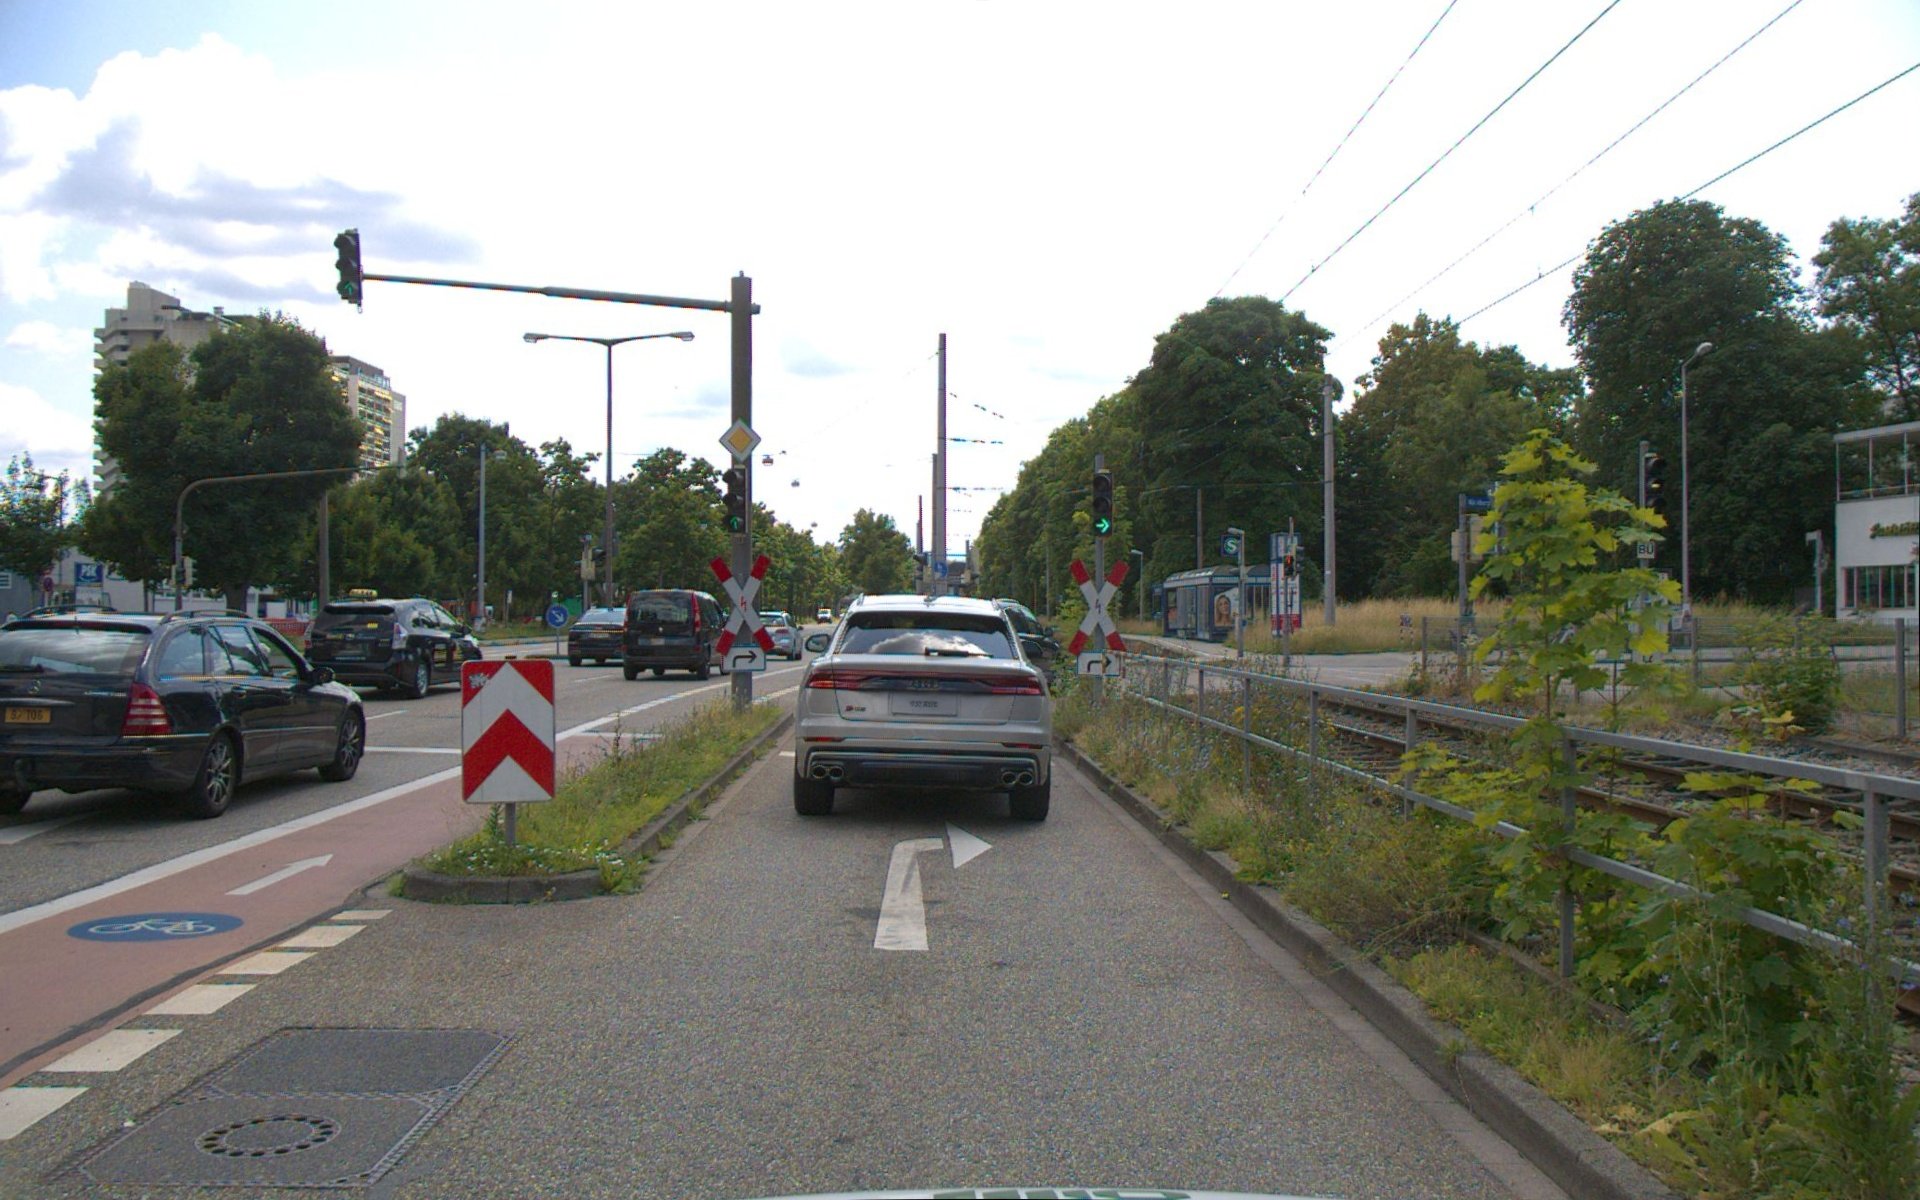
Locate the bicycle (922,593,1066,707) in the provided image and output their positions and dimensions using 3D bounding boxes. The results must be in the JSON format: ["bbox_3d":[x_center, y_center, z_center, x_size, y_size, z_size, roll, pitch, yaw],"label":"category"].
[{"bbox_3d":[0.648,0.767,27.042,1.951,1.704,4.211,0,0,7],"label":"bicycle"}]

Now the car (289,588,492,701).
[{"bbox_3d":[-9.302,0.709,27.386,1.749,1.697,4.340,1,-1,1],"label":"car"}]

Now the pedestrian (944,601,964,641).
[{"bbox_3d":[-0.235,0.815,63.570,0.642,1.540,0.716,0,-1,-10],"label":"pedestrian"}]

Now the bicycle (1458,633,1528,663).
[{"bbox_3d":[14.113,1.263,43.828,1.686,0.778,0.555,1,-1,1],"label":"bicycle"}]

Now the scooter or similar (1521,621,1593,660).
[{"bbox_3d":[15.789,1.071,43.765,1.542,0.997,0.962,-1,-1,1],"label":"scooter or similar"}]

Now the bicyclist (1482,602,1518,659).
[{"bbox_3d":[14.337,0.797,43.921,0.821,1.501,0.455,0,-1,1],"label":"bicyclist"}]

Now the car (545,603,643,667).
[{"bbox_3d":[-9.374,0.886,42.619,1.827,1.531,3.997,1,-1,-3],"label":"car"}]

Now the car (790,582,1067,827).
[{"bbox_3d":[-0.247,0.774,14.050,1.941,1.713,4.573,1,-1,-1],"label":"car"}]

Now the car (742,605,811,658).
[{"bbox_3d":[-5.623,0.965,51.045,1.750,1.552,4.299,1,-1,-2],"label":"car"}]

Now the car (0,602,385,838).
[{"bbox_3d":[-6.016,0.795,12.769,1.719,1.492,4.431,1,-1,-2],"label":"car"}]

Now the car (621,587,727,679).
[{"bbox_3d":[-6.033,0.692,35.241,1.724,1.809,3.906,1,-1,-3],"label":"car"}]
